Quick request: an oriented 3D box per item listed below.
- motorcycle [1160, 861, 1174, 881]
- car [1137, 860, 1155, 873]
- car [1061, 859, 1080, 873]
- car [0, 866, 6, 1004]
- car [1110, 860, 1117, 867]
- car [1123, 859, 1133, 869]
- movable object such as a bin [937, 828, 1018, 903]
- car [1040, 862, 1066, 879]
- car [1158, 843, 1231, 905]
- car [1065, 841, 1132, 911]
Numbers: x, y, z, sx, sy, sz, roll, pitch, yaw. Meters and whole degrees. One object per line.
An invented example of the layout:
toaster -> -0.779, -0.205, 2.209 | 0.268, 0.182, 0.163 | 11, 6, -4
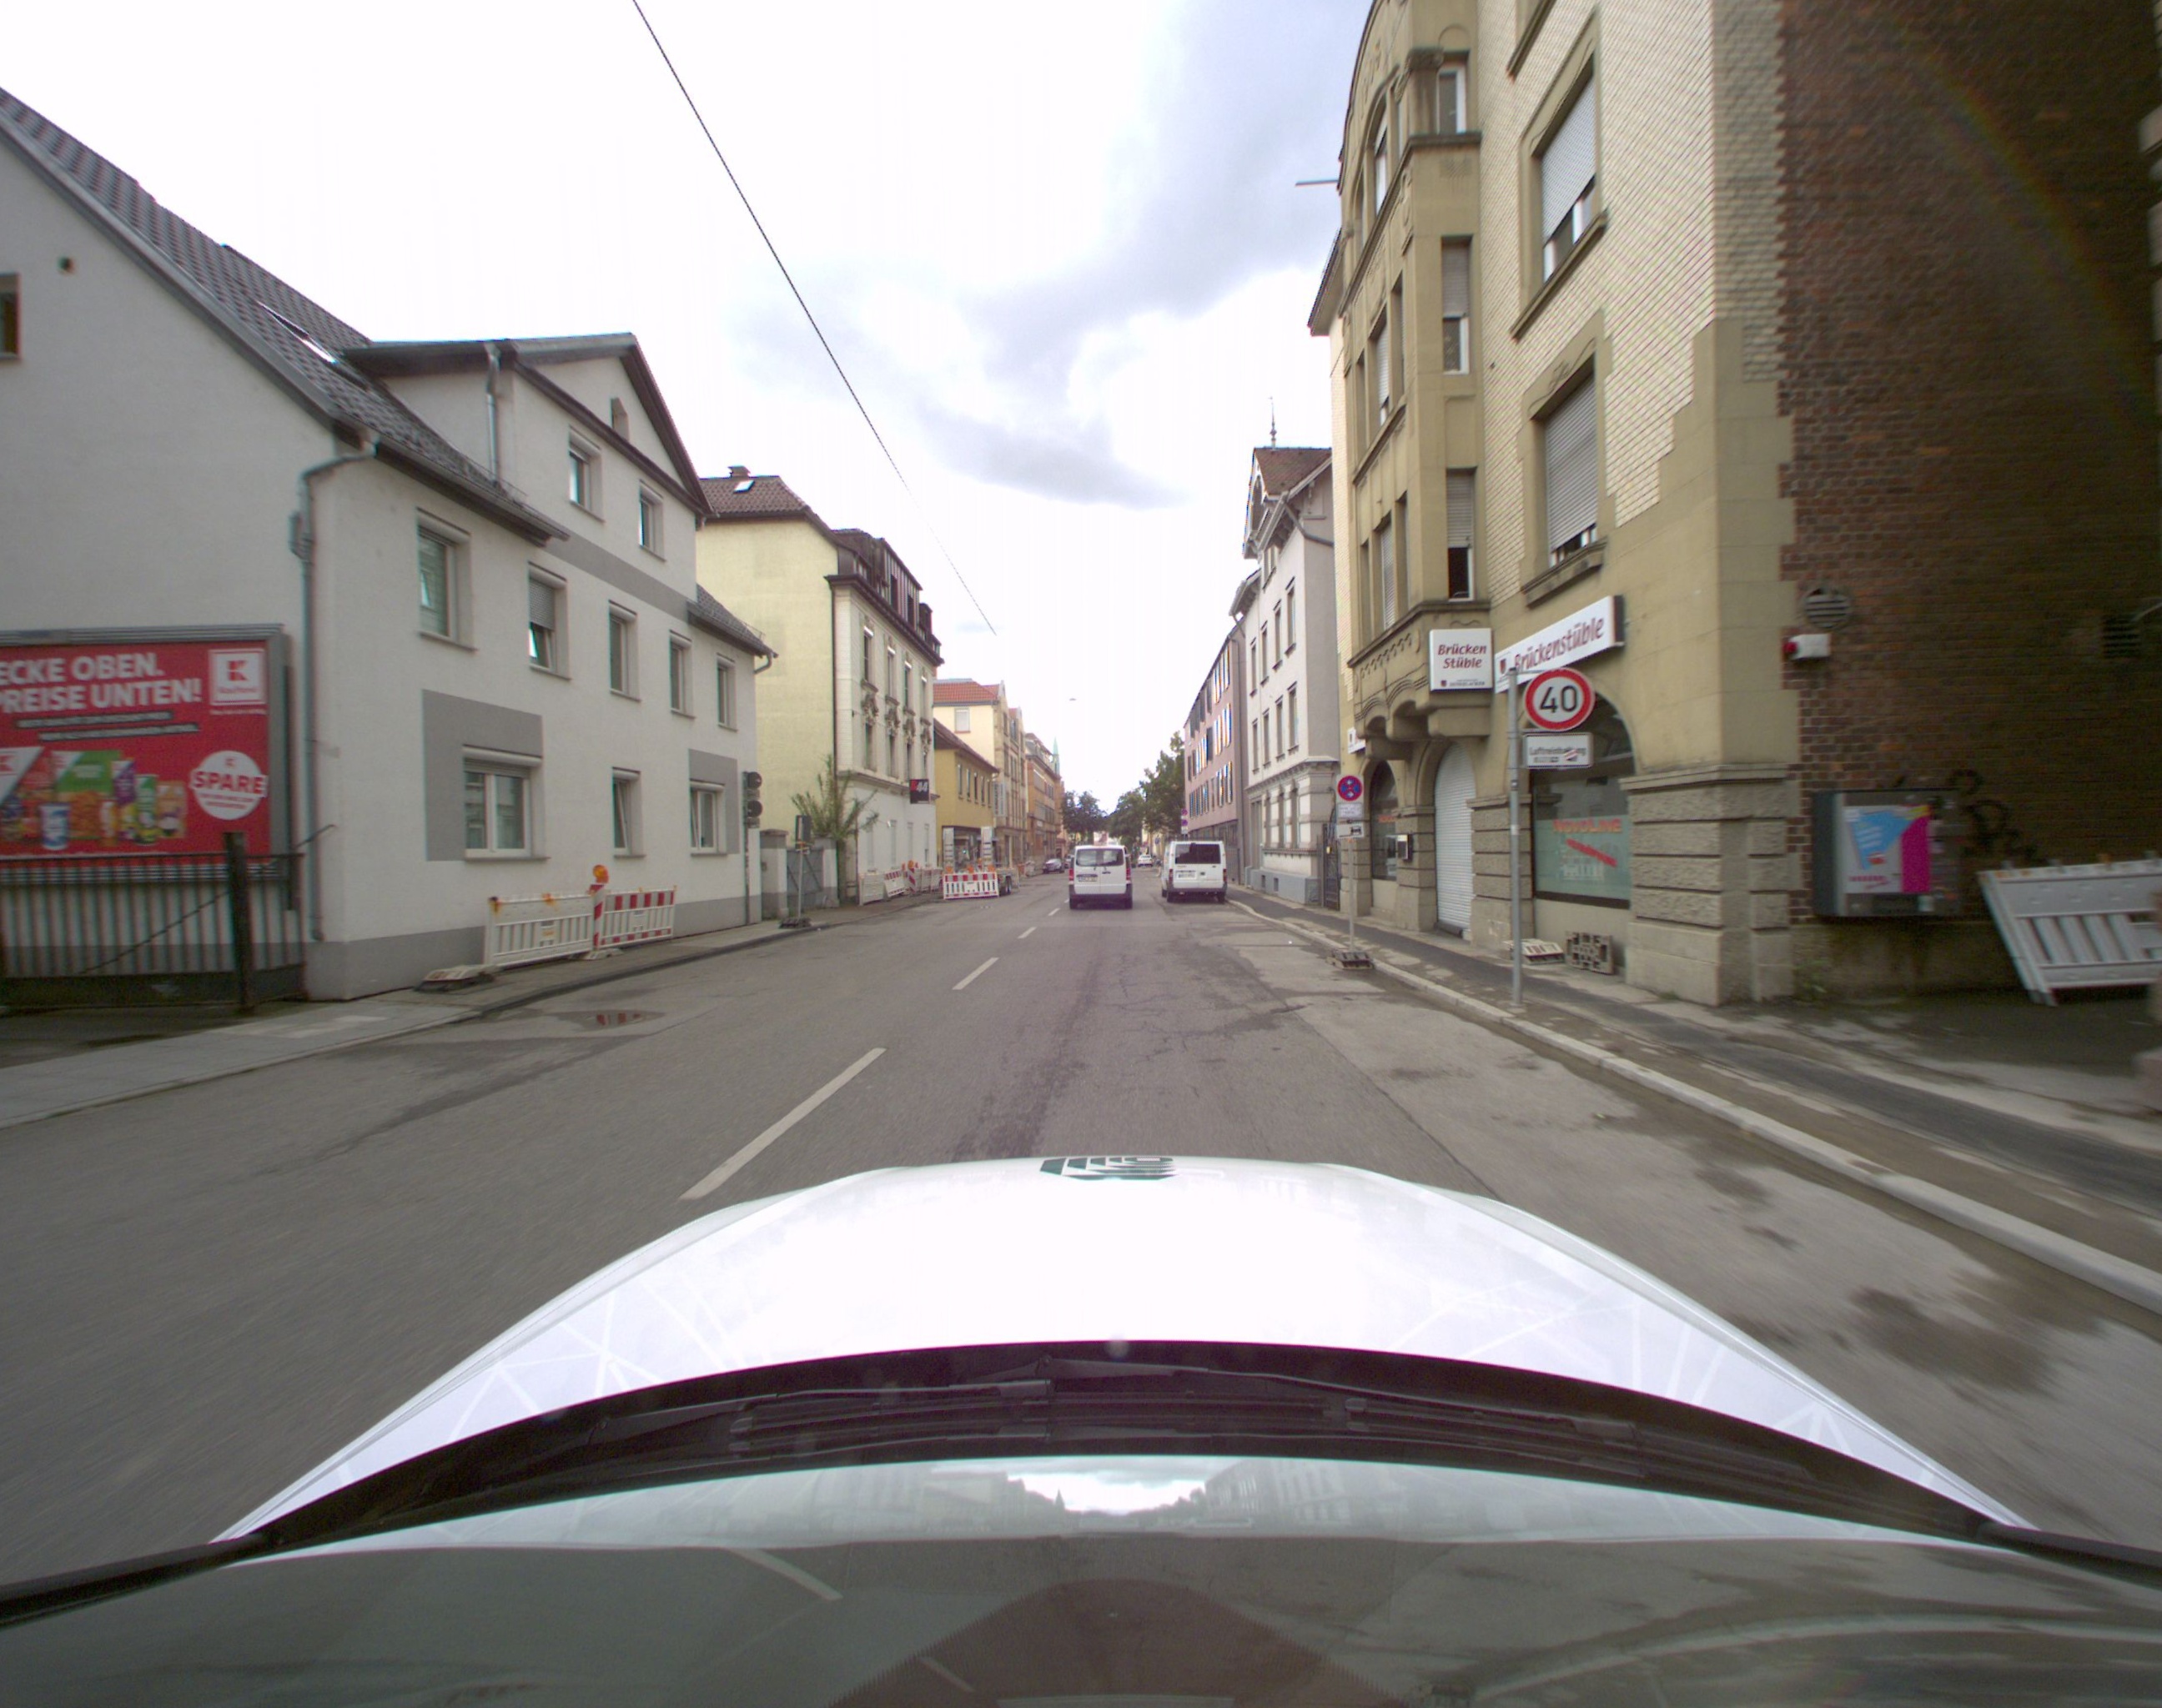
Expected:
motorcycle -> 5.437, 1.073, 51.370 | 0.639, 1.246, 2.275 | -2, -1, 11
car -> 7.875, 1.484, 99.351 | 1.986, 1.485, 4.002 | 2, 0, 2
car -> -1.275, 1.464, 99.843 | 1.986, 1.741, 4.002 | -1, -1, 2
car -> -14.357, 0.934, 8.569 | 3.897, 1.571, 1.800 | -1, -1, 4
car -> 8.068, 2.324, 202.066 | 1.746, 1.673, 3.672 | -2, -1, 4
car -> 9.789, 2.066, 170.727 | 1.984, 2.014, 4.004 | -2, -2, 4
movable object such as a bin -> -4.267, 0.472, 34.469 | 2.527, 2.825, 4.541 | -3, -1, 2
car -> -2.548, 1.469, 74.908 | 1.986, 1.442, 4.002 | -3, -1, 2
car -> 3.910, 0.661, 28.777 | 2.120, 2.005, 4.929 | 0, -1, 3
car -> 0.642, 0.647, 25.517 | 1.883, 1.929, 4.649 | -1, -1, 3
